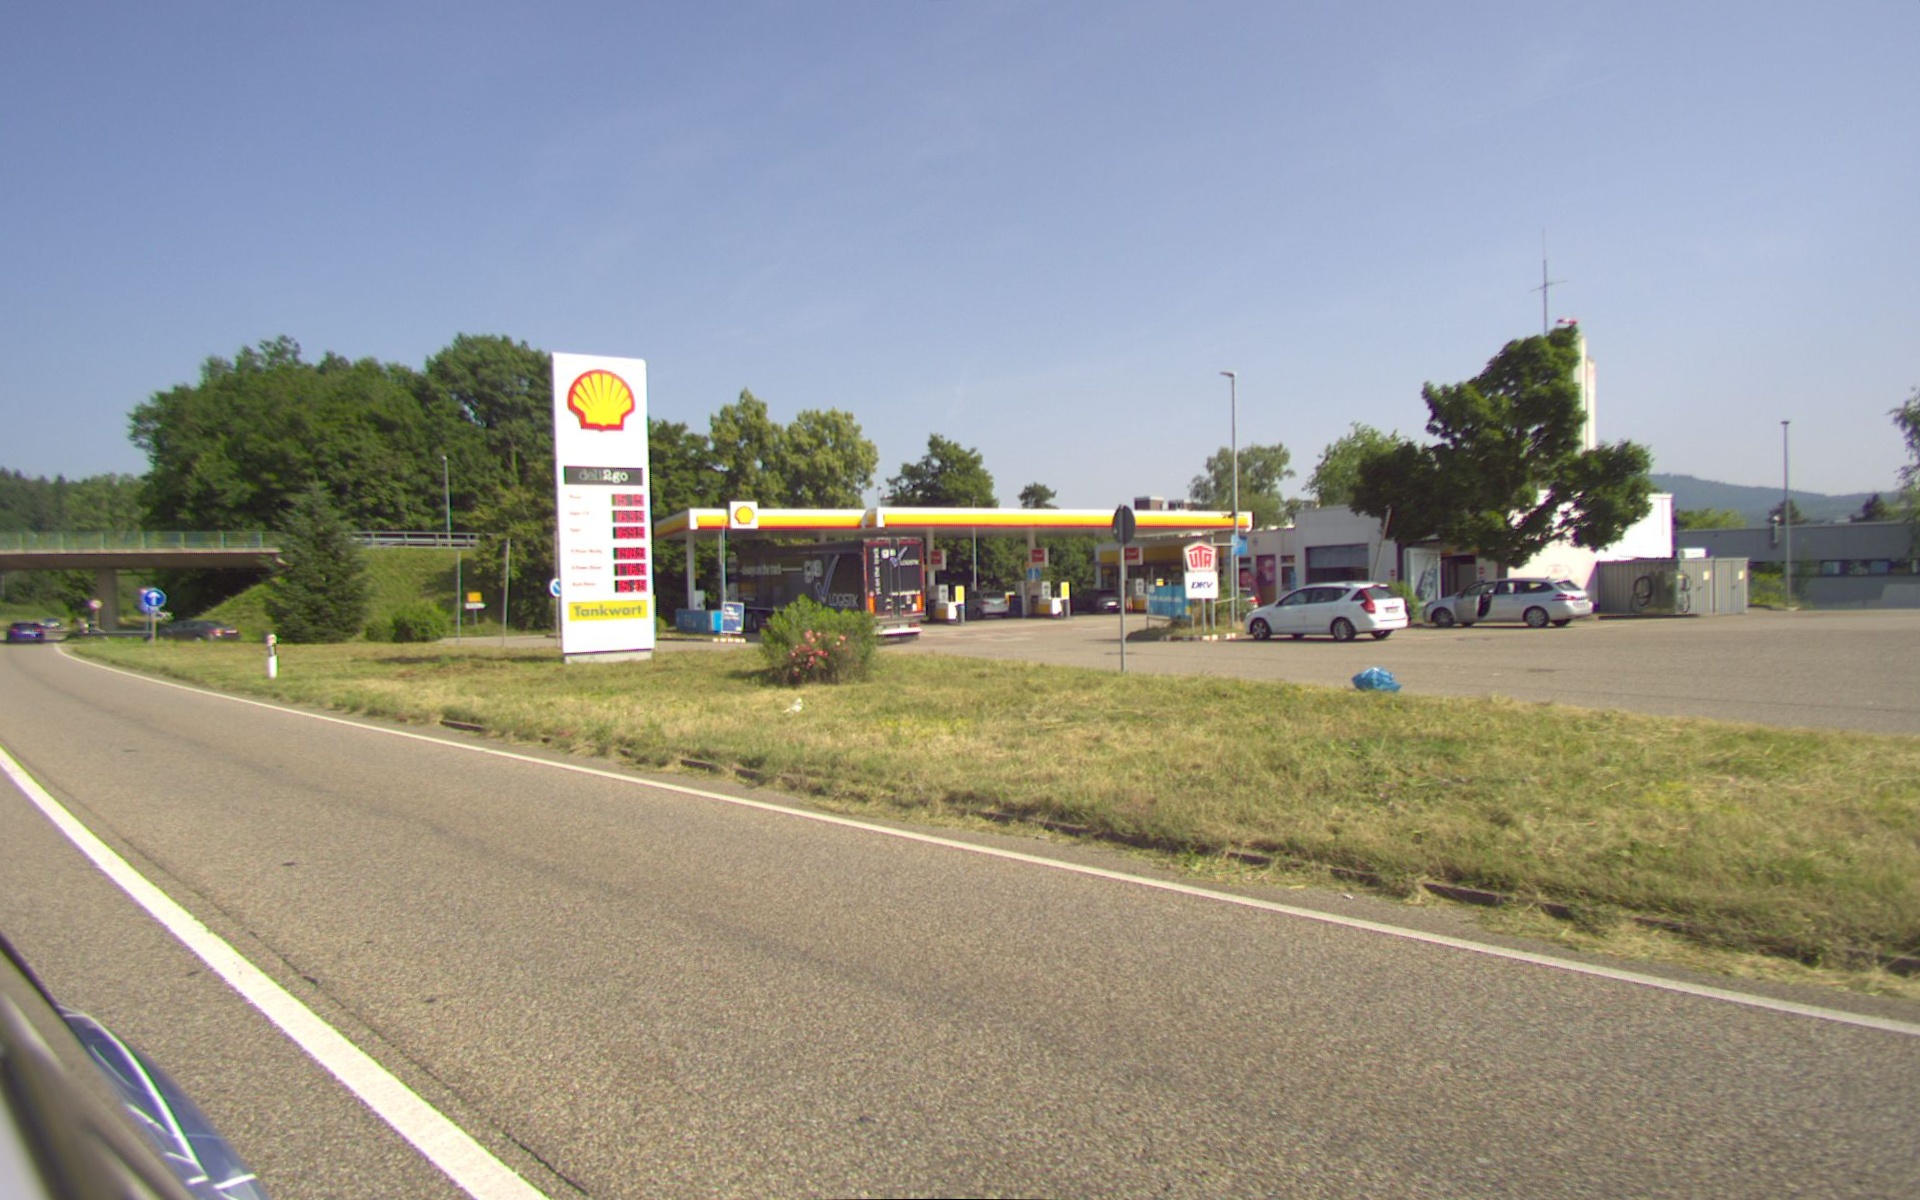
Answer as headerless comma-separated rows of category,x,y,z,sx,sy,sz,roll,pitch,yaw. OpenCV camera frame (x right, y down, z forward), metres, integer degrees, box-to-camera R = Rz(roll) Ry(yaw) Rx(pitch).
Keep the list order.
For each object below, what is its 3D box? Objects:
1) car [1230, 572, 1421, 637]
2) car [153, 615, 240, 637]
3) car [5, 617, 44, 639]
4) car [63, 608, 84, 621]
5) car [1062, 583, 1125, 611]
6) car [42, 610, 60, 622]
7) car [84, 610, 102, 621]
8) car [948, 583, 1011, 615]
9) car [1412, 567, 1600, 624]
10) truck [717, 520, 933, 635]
car,9.628,0.131,27.057,1.692,1.578,4.669,-1,0,-34
car,-42.223,1.428,55.976,4.063,1.181,1.800,0,-1,16
car,-59.662,1.781,64.532,3.924,1.366,1.658,-1,-2,45
car,-97.691,1.625,111.499,1.657,1.366,3.926,1,-2,-43
car,7.550,-0.156,57.615,1.965,1.470,4.012,-1,0,-18
car,-114.141,2.015,127.043,1.657,1.366,3.926,1,-2,-43
car,-112.439,2.023,131.239,1.657,1.366,3.926,1,-2,-43
car,1.042,-0.029,55.759,1.877,1.655,4.013,-2,0,-24
car,16.274,-0.104,30.379,1.694,1.578,4.665,-1,0,-40
truck,-6.636,-0.788,44.616,3.011,4.165,16.822,0,0,-31
